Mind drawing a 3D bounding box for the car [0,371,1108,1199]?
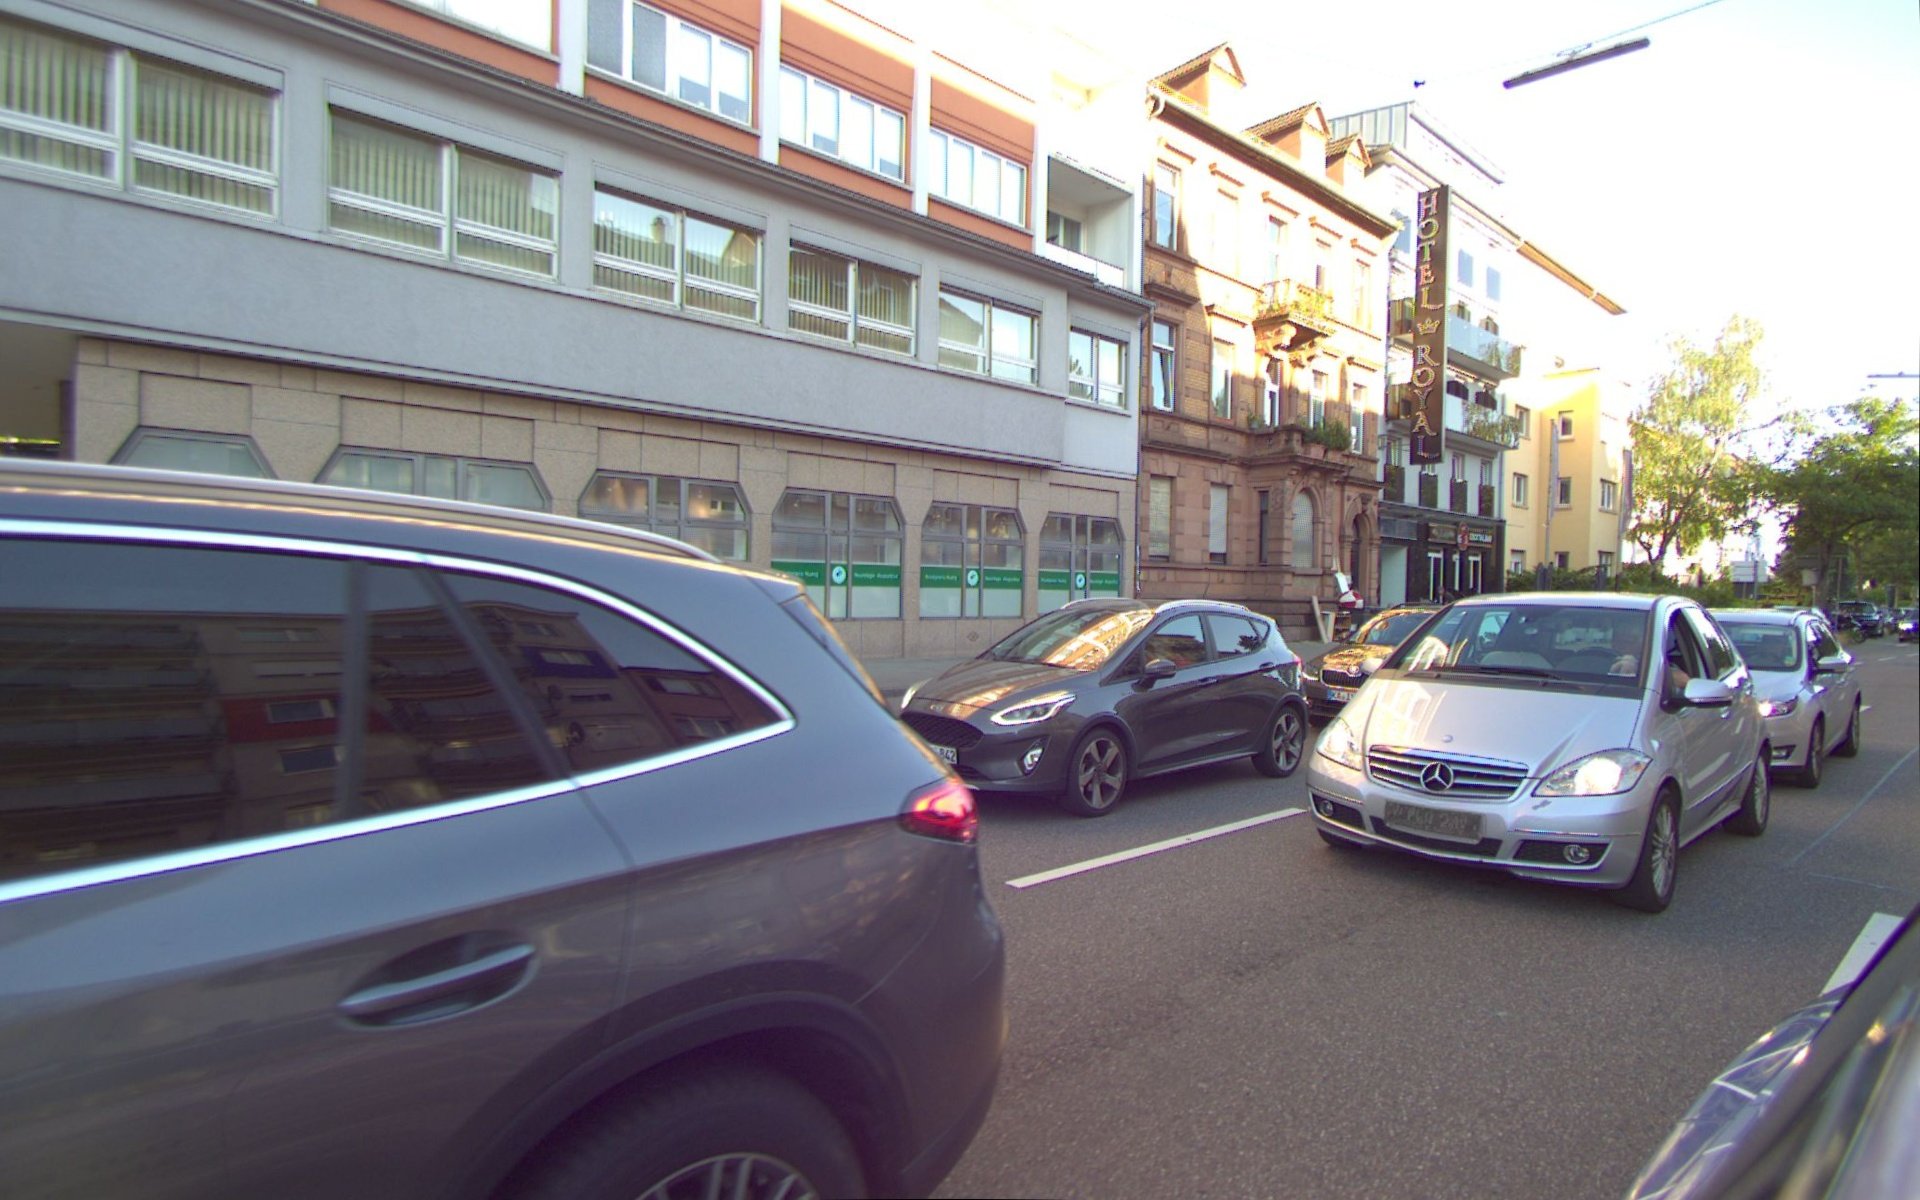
[{"bbox_3d":[-1.916,0.583,1.263,4.402,1.653,1.786,0,1,-43],"label":"car"}]

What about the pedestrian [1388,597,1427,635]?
[{"bbox_3d":[12.963,0.460,29.312,0.928,1.056,0.692,1,1,-39],"label":"pedestrian"}]

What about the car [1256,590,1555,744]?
[{"bbox_3d":[5.379,0.664,11.979,4.087,1.475,1.710,0,1,-42],"label":"car"}]

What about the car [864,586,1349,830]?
[{"bbox_3d":[1.384,0.661,8.255,4.166,1.503,1.653,0,0,-42],"label":"car"}]

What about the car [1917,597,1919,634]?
[{"bbox_3d":[42.027,0.682,42.864,3.933,1.553,1.995,0,1,-44],"label":"car"}]

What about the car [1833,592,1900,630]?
[{"bbox_3d":[43.307,0.477,48.326,4.715,1.675,1.950,0,1,-43],"label":"car"}]

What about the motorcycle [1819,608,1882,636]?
[{"bbox_3d":[37.428,0.902,42.564,1.921,1.084,0.809,2,1,37],"label":"motorcycle"}]

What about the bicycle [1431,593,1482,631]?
[{"bbox_3d":[16.265,0.370,33.159,1.415,1.124,0.483,5,2,31],"label":"bicycle"}]

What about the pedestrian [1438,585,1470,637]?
[{"bbox_3d":[16.037,0.355,32.865,0.681,1.664,0.708,1,1,-42],"label":"pedestrian"}]

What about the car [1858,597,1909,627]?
[{"bbox_3d":[49.588,0.607,54.310,4.358,1.490,1.718,0,2,-44],"label":"car"}]

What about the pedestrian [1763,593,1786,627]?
[{"bbox_3d":[39.480,0.469,49.064,0.570,1.636,0.747,1,1,-44],"label":"pedestrian"}]

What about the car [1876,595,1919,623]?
[{"bbox_3d":[54.626,0.505,58.709,4.408,1.466,1.773,0,2,-43],"label":"car"}]

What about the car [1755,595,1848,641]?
[{"bbox_3d":[31.521,0.627,37.875,4.749,1.531,1.860,0,3,-41],"label":"car"}]

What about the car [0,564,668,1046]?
[{"bbox_3d":[-3.135,0.634,4.142,3.420,1.524,1.491,0,1,-43],"label":"car"}]

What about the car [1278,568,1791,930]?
[{"bbox_3d":[3.744,0.644,6.352,3.557,1.588,1.806,0,1,-43],"label":"car"}]

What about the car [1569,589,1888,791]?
[{"bbox_3d":[7.553,0.686,9.782,4.235,1.529,1.710,0,0,-42],"label":"car"}]
